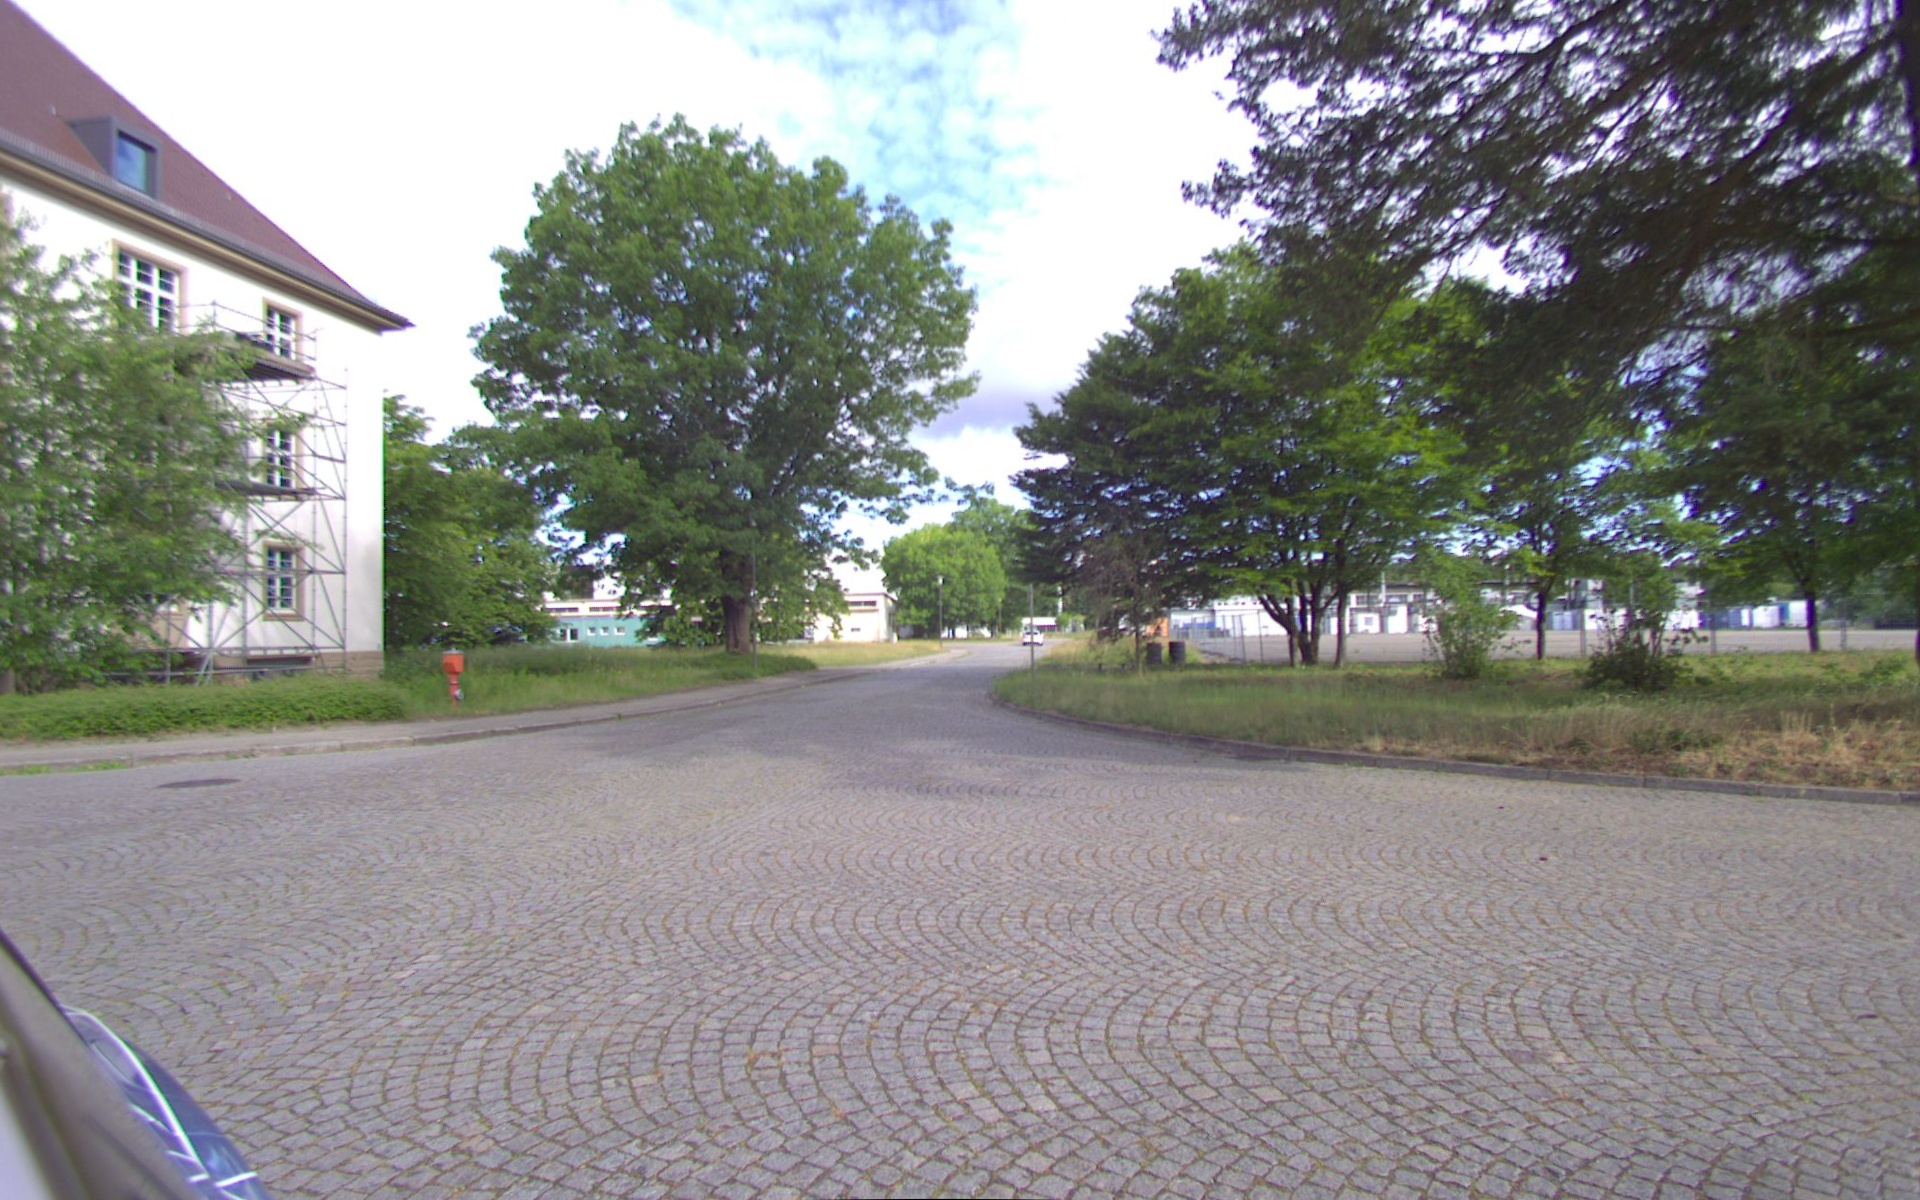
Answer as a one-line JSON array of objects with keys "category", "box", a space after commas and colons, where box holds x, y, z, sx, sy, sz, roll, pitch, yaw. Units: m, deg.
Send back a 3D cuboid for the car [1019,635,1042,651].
[{"category": "car", "box": [6.537, 3.959, 93.648, 1.833, 1.448, 4.695, -2, -2, 7]}]
